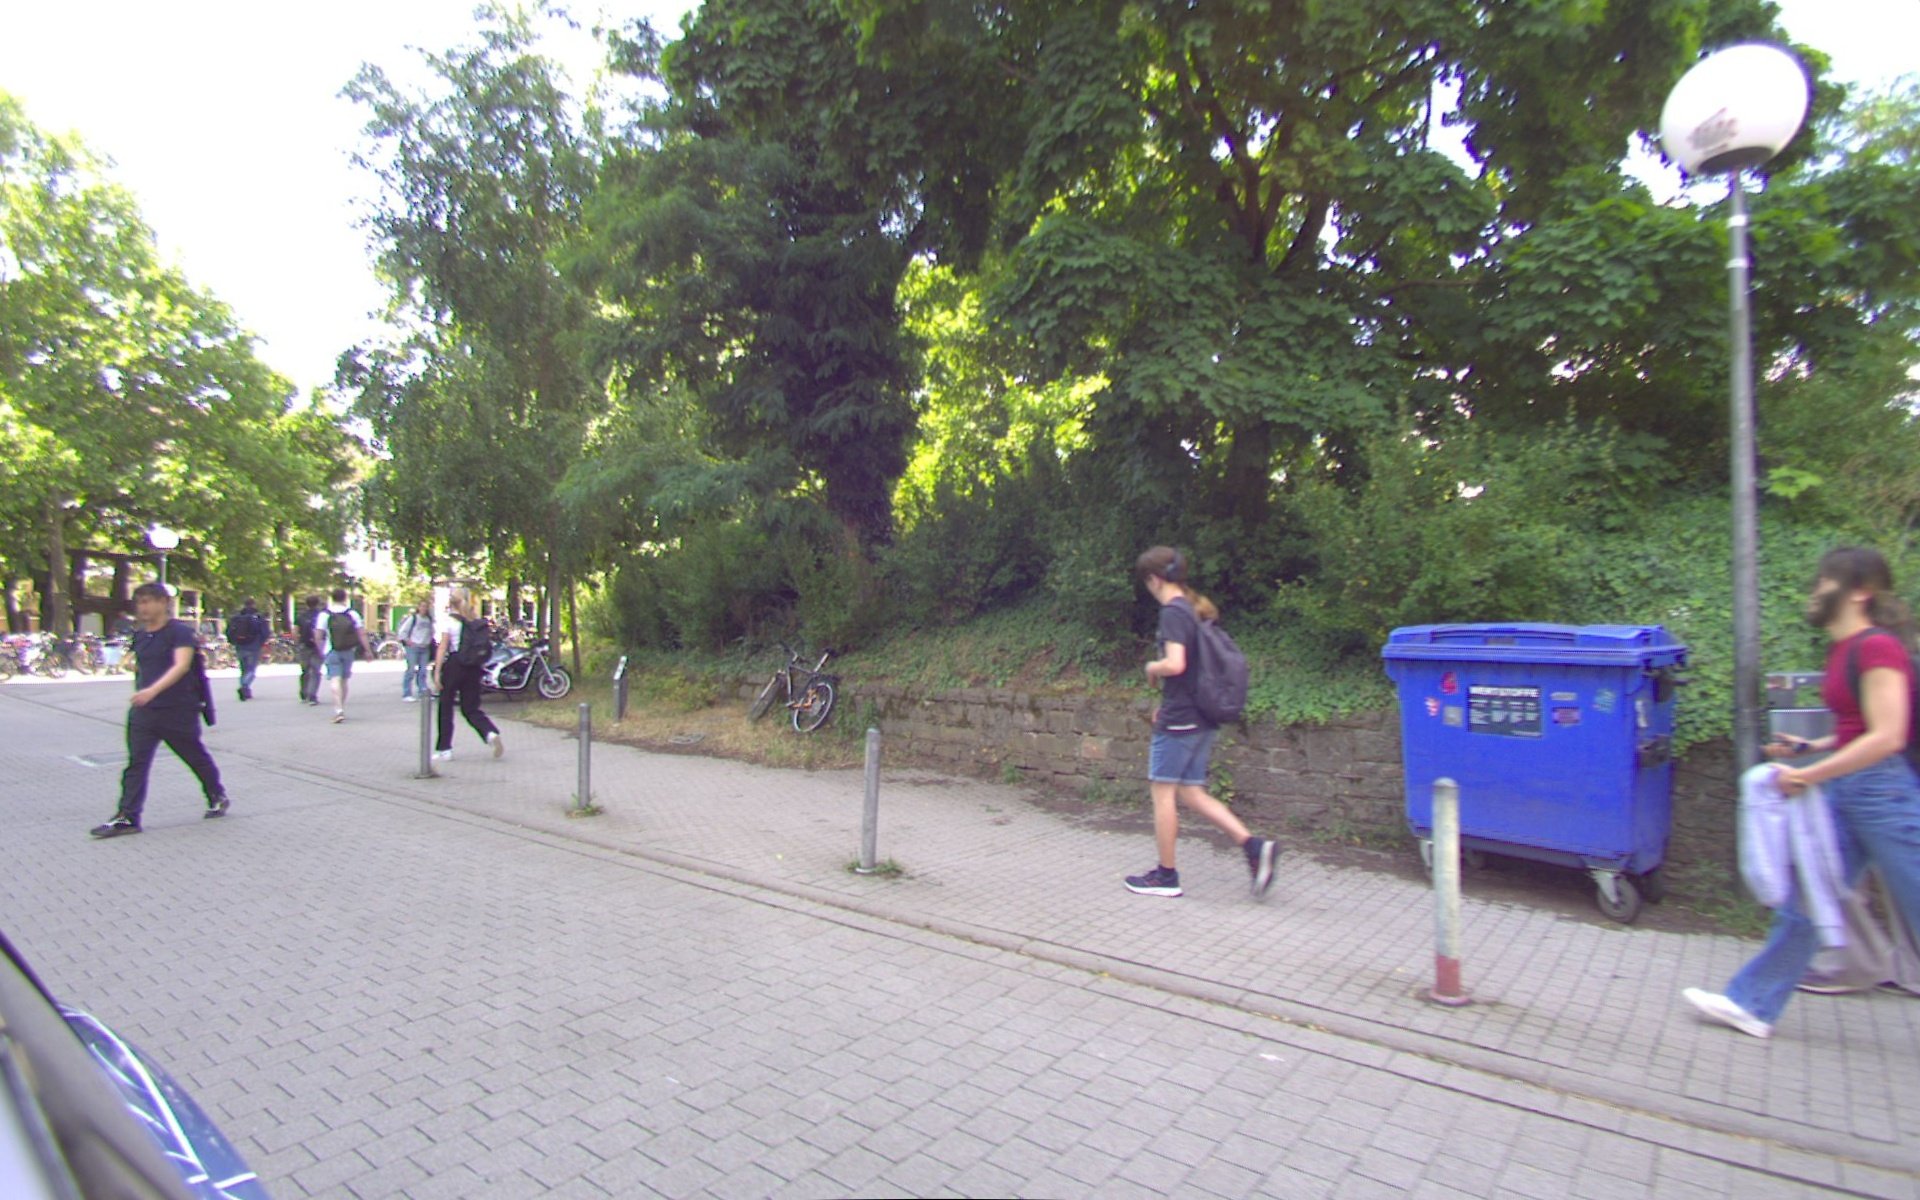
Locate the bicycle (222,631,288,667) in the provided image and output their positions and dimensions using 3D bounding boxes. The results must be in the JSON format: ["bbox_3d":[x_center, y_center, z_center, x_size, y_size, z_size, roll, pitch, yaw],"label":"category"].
[{"bbox_3d":[-22.711,1.568,32.630,1.671,1.092,0.475,0,-1,-16],"label":"bicycle"}]

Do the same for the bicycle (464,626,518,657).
[{"bbox_3d":[-17.472,1.540,37.727,1.749,1.118,0.518,-1,-1,-9],"label":"bicycle"}]

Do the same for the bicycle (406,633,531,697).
[{"bbox_3d":[-8.438,1.109,17.413,1.881,1.055,0.542,-1,-1,-1],"label":"bicycle"}]

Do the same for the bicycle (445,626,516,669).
[{"bbox_3d":[-13.084,1.293,27.654,1.747,1.118,0.476,0,-1,-22],"label":"bicycle"}]

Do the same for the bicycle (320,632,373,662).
[{"bbox_3d":[-23.250,1.784,38.363,1.672,1.092,0.475,-1,-1,-8],"label":"bicycle"}]

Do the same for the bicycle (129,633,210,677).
[{"bbox_3d":[-21.352,1.472,27.374,1.696,1.092,0.475,0,-1,-37],"label":"bicycle"}]

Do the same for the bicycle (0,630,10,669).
[{"bbox_3d":[-31.546,1.614,32.293,0.495,1.245,1.722,-1,-1,31],"label":"bicycle"}]

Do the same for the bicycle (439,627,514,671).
[{"bbox_3d":[-12.717,1.280,26.640,1.747,1.118,0.476,0,-1,-22],"label":"bicycle"}]

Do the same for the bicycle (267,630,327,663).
[{"bbox_3d":[-23.160,1.607,35.371,1.671,1.092,0.475,0,-1,-16],"label":"bicycle"}]

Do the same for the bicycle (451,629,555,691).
[{"bbox_3d":[-8.430,1.100,18.710,1.675,1.055,0.474,-2,1,-1],"label":"bicycle"}]

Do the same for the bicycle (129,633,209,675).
[{"bbox_3d":[-21.700,1.474,27.789,1.671,1.092,0.475,0,-1,-32],"label":"bicycle"}]

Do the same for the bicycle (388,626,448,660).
[{"bbox_3d":[-18.938,1.497,35.369,1.813,1.118,0.476,0,-1,-24],"label":"bicycle"}]

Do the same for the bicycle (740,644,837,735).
[{"bbox_3d":[-2.059,1.023,11.984,0.416,0.917,1.744,0,0,-36],"label":"bicycle"}]

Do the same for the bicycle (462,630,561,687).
[{"bbox_3d":[-8.555,1.108,19.330,1.675,1.055,0.474,-1,-1,-1],"label":"bicycle"}]

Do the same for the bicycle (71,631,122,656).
[{"bbox_3d":[-41.299,2.069,48.431,0.392,1.116,1.819,-1,-1,32],"label":"bicycle"}]

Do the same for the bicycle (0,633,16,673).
[{"bbox_3d":[-29.763,1.630,30.629,0.534,1.207,1.682,-1,-1,30],"label":"bicycle"}]

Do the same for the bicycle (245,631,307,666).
[{"bbox_3d":[-22.778,1.610,33.719,1.671,1.092,0.475,0,-1,-16],"label":"bicycle"}]

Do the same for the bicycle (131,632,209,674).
[{"bbox_3d":[-22.013,1.472,28.219,1.671,1.092,0.475,0,-1,-32],"label":"bicycle"}]

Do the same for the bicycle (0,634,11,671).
[{"bbox_3d":[-30.822,1.653,31.592,0.472,1.154,1.684,-1,-1,27],"label":"bicycle"}]

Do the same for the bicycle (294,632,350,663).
[{"bbox_3d":[-23.282,1.735,36.969,1.671,1.092,0.475,0,-1,-16],"label":"bicycle"}]

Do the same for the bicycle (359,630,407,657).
[{"bbox_3d":[-23.574,1.779,41.361,1.676,1.092,0.474,-1,-1,0],"label":"bicycle"}]

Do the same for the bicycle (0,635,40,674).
[{"bbox_3d":[-28.131,1.609,29.613,0.580,1.116,1.684,-1,-1,27],"label":"bicycle"}]

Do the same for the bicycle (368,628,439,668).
[{"bbox_3d":[-16.124,1.397,29.348,1.750,1.118,0.475,-1,-1,-7],"label":"bicycle"}]

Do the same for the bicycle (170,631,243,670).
[{"bbox_3d":[-21.918,1.451,29.442,1.672,1.092,0.475,-1,-1,-9],"label":"bicycle"}]

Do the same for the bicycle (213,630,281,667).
[{"bbox_3d":[-22.314,1.507,31.687,1.671,1.092,0.475,-1,-1,-13],"label":"bicycle"}]

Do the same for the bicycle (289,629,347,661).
[{"bbox_3d":[-22.884,1.594,36.092,1.671,1.092,0.475,0,-1,-16],"label":"bicycle"}]

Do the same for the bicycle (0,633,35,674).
[{"bbox_3d":[-28.545,1.586,29.941,0.472,1.196,1.684,-1,-1,27],"label":"bicycle"}]

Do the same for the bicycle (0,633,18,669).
[{"bbox_3d":[-30.406,1.596,31.381,0.472,1.116,1.684,-1,-1,27],"label":"bicycle"}]

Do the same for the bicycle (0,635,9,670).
[{"bbox_3d":[-31.217,1.674,31.937,0.495,1.116,1.683,-1,-1,28],"label":"bicycle"}]

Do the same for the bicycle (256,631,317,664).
[{"bbox_3d":[-22.756,1.601,34.222,1.671,1.092,0.475,0,-1,-16],"label":"bicycle"}]

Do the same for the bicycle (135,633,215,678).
[{"bbox_3d":[-20.939,1.459,27.012,1.672,1.118,0.475,0,-1,-39],"label":"bicycle"}]

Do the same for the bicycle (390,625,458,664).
[{"bbox_3d":[-16.131,1.333,30.458,1.750,1.118,0.475,-1,-1,-7],"label":"bicycle"}]

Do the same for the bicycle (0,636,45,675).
[{"bbox_3d":[-28.793,1.677,30.513,0.563,1.116,1.684,-1,-1,27],"label":"bicycle"}]

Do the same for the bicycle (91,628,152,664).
[{"bbox_3d":[-29.332,1.615,35.415,1.675,1.209,0.576,-1,-1,0],"label":"bicycle"}]

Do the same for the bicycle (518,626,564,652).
[{"bbox_3d":[-18.235,1.697,44.056,1.749,1.118,0.518,-1,-1,-9],"label":"bicycle"}]

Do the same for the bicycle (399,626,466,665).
[{"bbox_3d":[-16.147,1.386,31.016,1.748,1.118,0.475,-1,-1,-12],"label":"bicycle"}]

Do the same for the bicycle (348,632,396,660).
[{"bbox_3d":[-23.565,1.855,40.554,1.676,1.092,0.474,-1,-1,0],"label":"bicycle"}]

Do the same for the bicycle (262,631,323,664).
[{"bbox_3d":[-23.016,1.624,34.911,1.671,1.092,0.475,0,-1,-16],"label":"bicycle"}]

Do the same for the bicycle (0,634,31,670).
[{"bbox_3d":[-29.950,1.625,31.354,0.472,1.116,1.684,-1,-1,27],"label":"bicycle"}]

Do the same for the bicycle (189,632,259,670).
[{"bbox_3d":[-22.248,1.526,30.610,1.672,1.092,0.475,-1,-1,-9],"label":"bicycle"}]

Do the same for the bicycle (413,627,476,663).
[{"bbox_3d":[-16.689,1.449,32.794,1.748,1.118,0.475,-1,-1,-12],"label":"bicycle"}]

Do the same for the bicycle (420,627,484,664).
[{"bbox_3d":[-16.055,1.443,31.983,1.748,1.118,0.475,-1,-1,-12],"label":"bicycle"}]

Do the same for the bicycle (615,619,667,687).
[{"bbox_3d":[-5.431,0.875,17.186,0.466,1.055,1.705,-2,1,-29],"label":"bicycle"}]
